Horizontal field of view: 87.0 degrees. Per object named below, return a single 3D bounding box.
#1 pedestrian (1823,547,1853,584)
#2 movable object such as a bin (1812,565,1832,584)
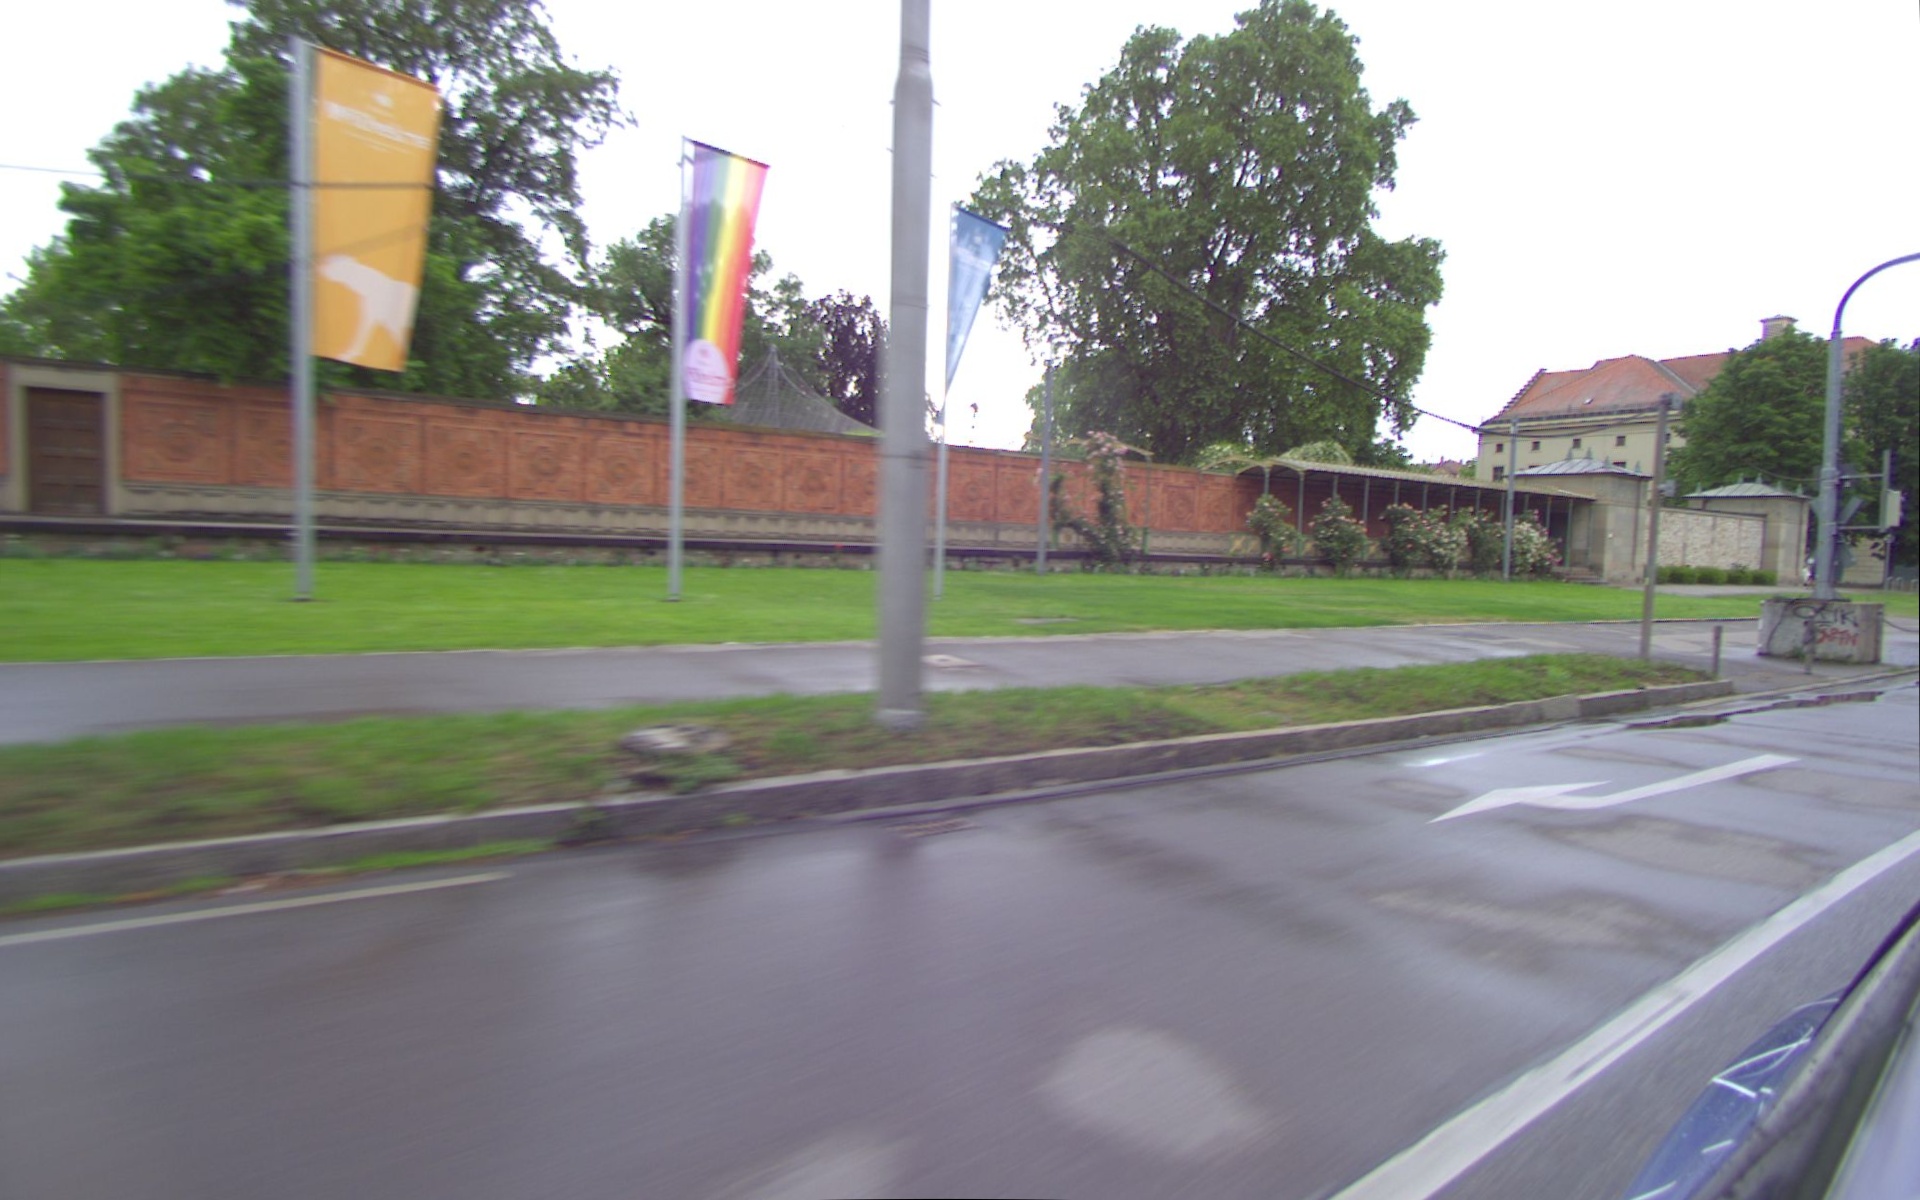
[{"bbox_3d":[42.535,-1.660,49.051,0.962,1.731,0.732,0,5,-32],"label":"pedestrian"},{"bbox_3d":[42.226,-1.237,49.579,1.168,0.882,0.344,0,5,-32],"label":"movable object such as a bin"}]
